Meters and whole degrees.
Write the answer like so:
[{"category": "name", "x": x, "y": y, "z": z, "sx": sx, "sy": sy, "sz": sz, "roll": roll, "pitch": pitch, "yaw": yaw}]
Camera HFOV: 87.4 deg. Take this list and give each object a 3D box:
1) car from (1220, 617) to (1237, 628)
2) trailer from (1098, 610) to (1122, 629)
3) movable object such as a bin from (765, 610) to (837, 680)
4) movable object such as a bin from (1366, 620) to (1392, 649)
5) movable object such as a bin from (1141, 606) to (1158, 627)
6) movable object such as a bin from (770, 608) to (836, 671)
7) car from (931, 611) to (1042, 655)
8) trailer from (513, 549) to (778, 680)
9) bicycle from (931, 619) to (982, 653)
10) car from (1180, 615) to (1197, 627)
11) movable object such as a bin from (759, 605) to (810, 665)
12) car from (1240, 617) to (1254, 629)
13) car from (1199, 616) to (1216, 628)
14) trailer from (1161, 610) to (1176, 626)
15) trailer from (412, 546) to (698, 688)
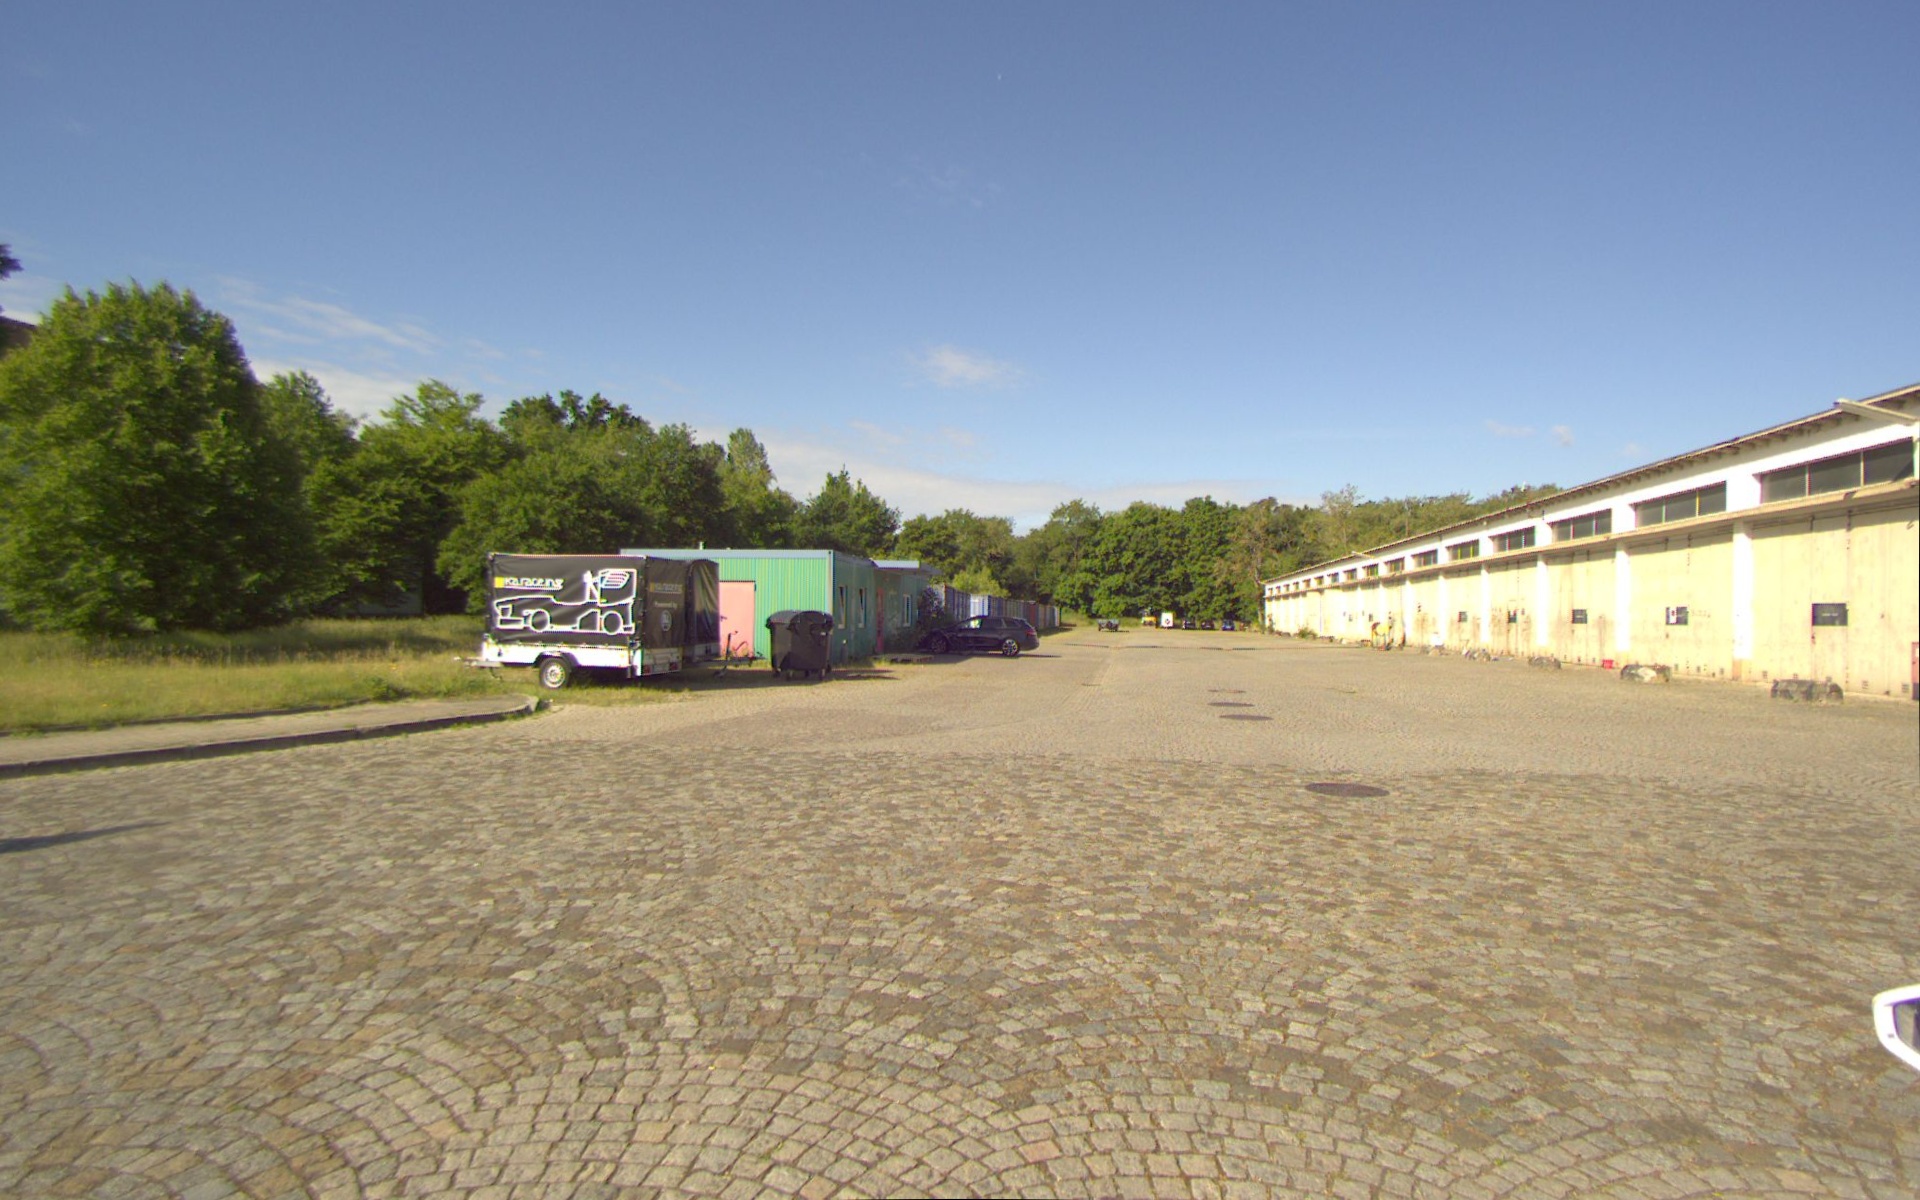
[{"category": "car", "x": 34.921, "y": 2.916, "z": 130.734, "sx": 1.960, "sy": 1.439, "sz": 4.002, "roll": 1, "pitch": -1, "yaw": 17}, {"category": "trailer", "x": 17.353, "y": 2.274, "z": 115.873, "sx": 2.366, "sy": 2.040, "sz": 4.176, "roll": 3, "pitch": 0, "yaw": 12}, {"category": "movable object such as a bin", "x": -3.373, "y": 0.933, "z": 21.266, "sx": 1.036, "sy": 1.404, "sz": 1.352, "roll": 1, "pitch": -1, "yaw": -32}, {"category": "movable object such as a bin", "x": 20.135, "y": 1.666, "z": 48.252, "sx": 0.809, "sy": 1.349, "sz": 1.281, "roll": 1, "pitch": -1, "yaw": 5}, {"category": "movable object such as a bin", "x": 25.345, "y": 2.159, "z": 134.159, "sx": 1.960, "sy": 2.653, "sz": 4.002, "roll": 3, "pitch": 0, "yaw": 14}, {"category": "movable object such as a bin", "x": -3.645, "y": 0.904, "z": 23.478, "sx": 1.062, "sy": 1.404, "sz": 1.370, "roll": 1, "pitch": -1, "yaw": 13}, {"category": "car", "x": 1.011, "y": 1.192, "z": 37.064, "sx": 3.981, "sy": 1.431, "sz": 1.732, "roll": 2, "pitch": -1, "yaw": 4}, {"category": "trailer", "x": -6.391, "y": 0.288, "z": 20.761, "sx": 4.757, "sy": 2.422, "sz": 1.944, "roll": 2, "pitch": -1, "yaw": 4}, {"category": "bicycle", "x": -0.118, "y": 1.273, "z": 35.570, "sx": 1.679, "sy": 1.116, "sz": 0.674, "roll": 3, "pitch": 0, "yaw": 10}, {"category": "car", "x": 29.921, "y": 2.732, "z": 131.310, "sx": 1.830, "sy": 1.606, "sz": 4.001, "roll": 1, "pitch": -1, "yaw": 17}, {"category": "movable object such as a bin", "x": -4.437, "y": 0.875, "z": 25.508, "sx": 1.067, "sy": 1.456, "sz": 1.409, "roll": 1, "pitch": -1, "yaw": -2}, {"category": "car", "x": 37.568, "y": 2.993, "z": 131.466, "sx": 1.657, "sy": 1.584, "sz": 4.001, "roll": 1, "pitch": -1, "yaw": 17}, {"category": "car", "x": 32.305, "y": 2.828, "z": 131.066, "sx": 1.960, "sy": 1.482, "sz": 4.001, "roll": 1, "pitch": -1, "yaw": 17}, {"category": "trailer", "x": 27.700, "y": 2.411, "z": 133.446, "sx": 1.763, "sy": 2.118, "sz": 3.974, "roll": 1, "pitch": -1, "yaw": 14}, {"category": "trailer", "x": -7.327, "y": 0.295, "z": 18.401, "sx": 4.377, "sy": 2.303, "sz": 2.015, "roll": 2, "pitch": -1, "yaw": 10}]
